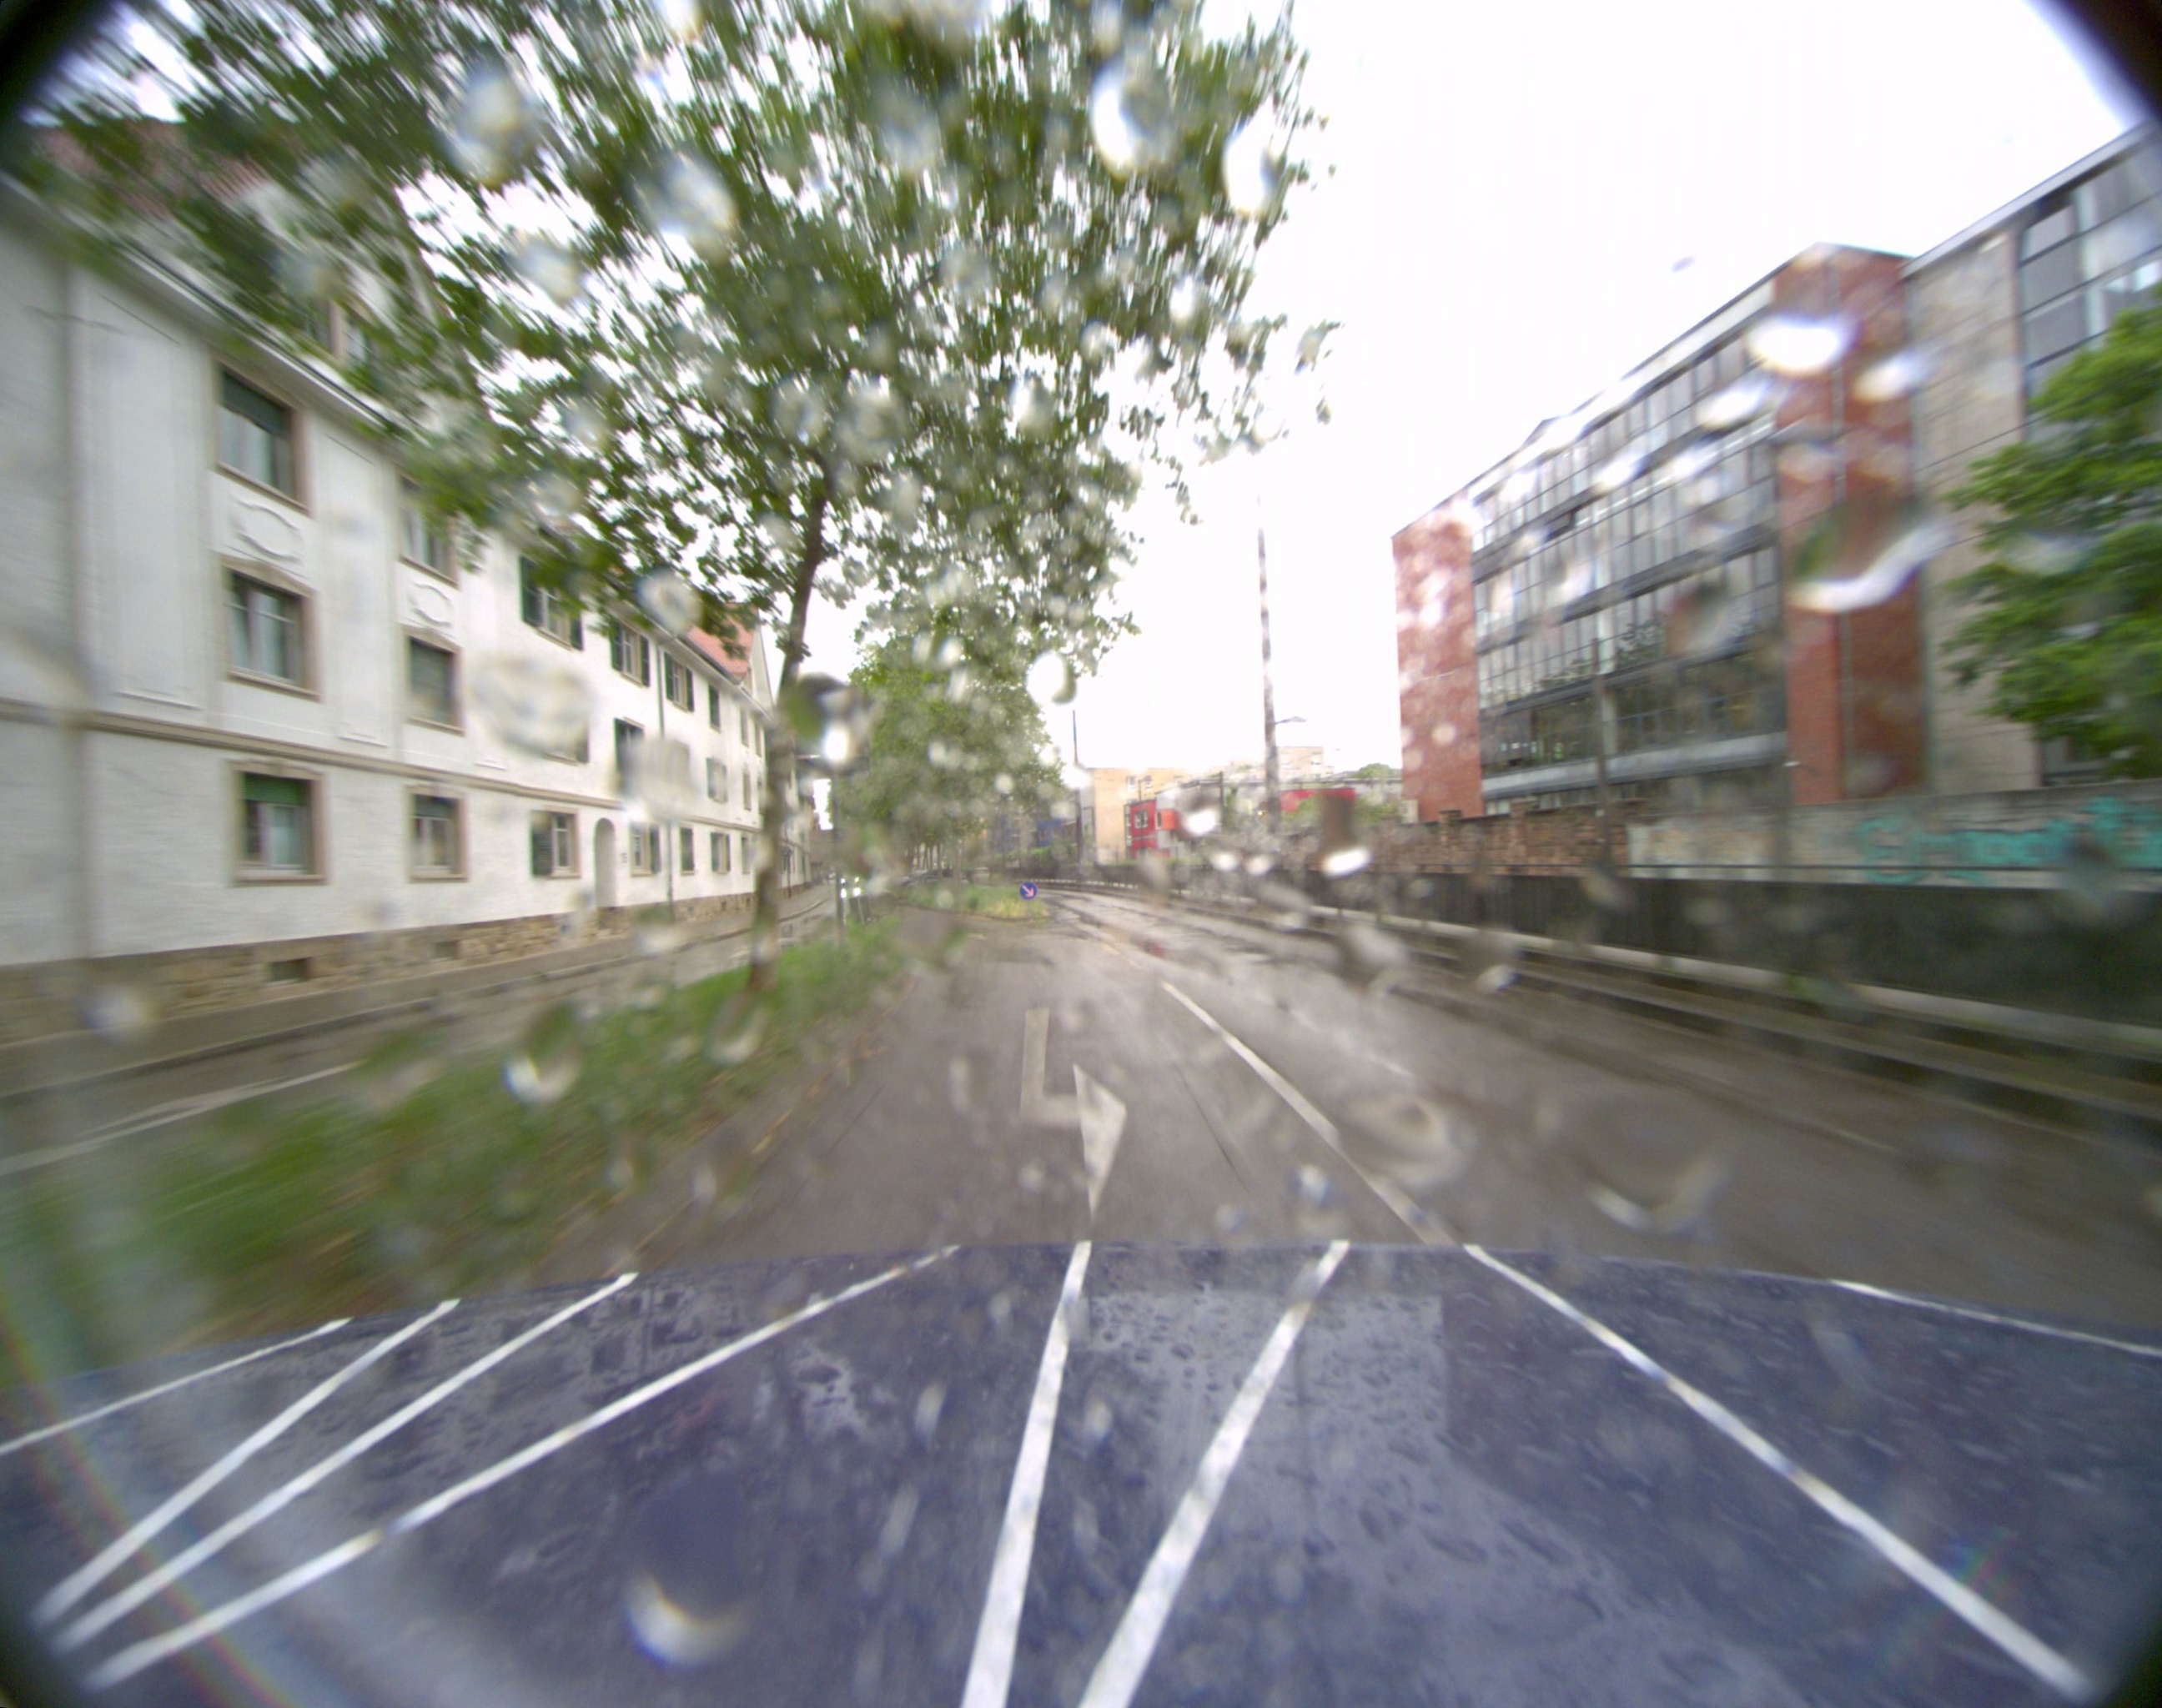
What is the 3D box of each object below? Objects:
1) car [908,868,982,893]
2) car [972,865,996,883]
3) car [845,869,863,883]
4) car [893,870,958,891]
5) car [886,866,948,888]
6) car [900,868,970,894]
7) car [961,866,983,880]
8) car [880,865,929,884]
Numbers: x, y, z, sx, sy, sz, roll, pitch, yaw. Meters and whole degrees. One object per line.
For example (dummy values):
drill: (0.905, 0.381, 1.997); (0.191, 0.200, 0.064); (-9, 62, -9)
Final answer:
car: (-8.737, 1.704, 48.768); (4.224, 1.532, 1.933); (-1, 0, 13)
car: (-9.771, 1.936, 76.064); (1.694, 1.713, 3.686); (-1, 0, -18)
car: (-26.573, 2.546, 88.893); (1.853, 1.586, 4.211); (-2, 0, -16)
car: (-11.599, 1.952, 56.735); (4.325, 1.499, 1.750); (-1, 0, 14)
car: (-12.763, 1.816, 59.266); (4.327, 1.603, 1.750); (-1, 0, 8)
car: (-9.761, 1.799, 50.997); (4.224, 1.601, 1.750); (-1, 0, 13)
car: (-11.994, 2.088, 83.486); (1.694, 1.439, 3.994); (-1, 0, -18)
car: (-19.575, 2.234, 84.202); (4.884, 2.002, 2.002); (-1, 0, 13)
